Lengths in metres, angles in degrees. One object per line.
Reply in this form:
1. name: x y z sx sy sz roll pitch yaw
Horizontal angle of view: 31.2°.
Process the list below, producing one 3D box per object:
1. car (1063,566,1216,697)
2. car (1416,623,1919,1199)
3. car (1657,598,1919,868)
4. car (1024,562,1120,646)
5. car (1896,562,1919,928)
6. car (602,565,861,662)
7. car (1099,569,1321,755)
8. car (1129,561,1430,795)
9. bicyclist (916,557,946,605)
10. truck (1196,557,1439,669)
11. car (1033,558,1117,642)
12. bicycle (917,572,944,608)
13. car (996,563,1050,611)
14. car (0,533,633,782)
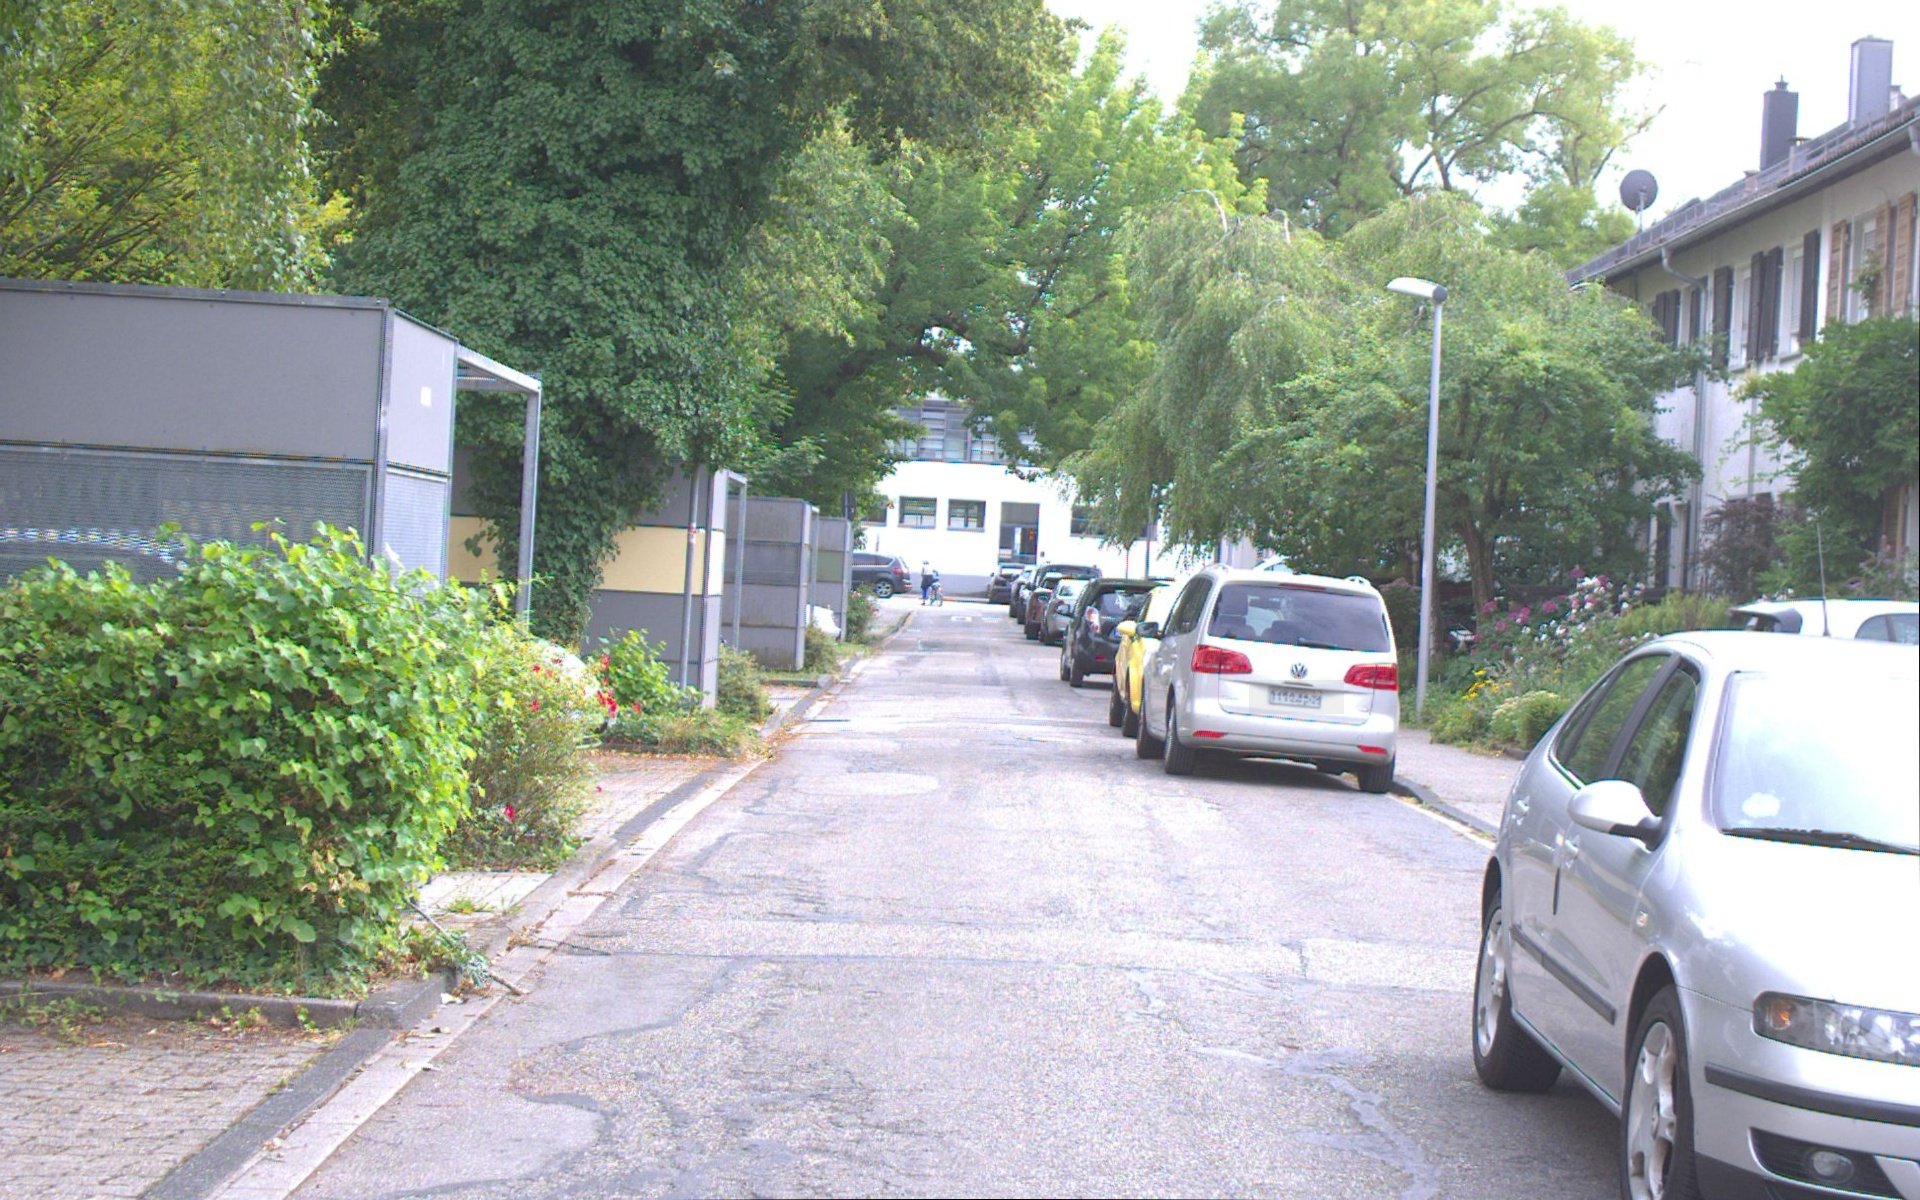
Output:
1. car: 2.437 0.391 47.604 1.825 1.576 4.193 5 1 1
2. car: 2.412 0.856 8.916 1.825 1.365 4.331 5 1 1
3. car: 5.927 0.800 21.242 2.816 1.564 1.741 1 1 -2
4. car: 2.338 0.069 72.813 1.825 1.576 4.000 5 1 1
5. car: 5.667 0.711 14.852 1.825 1.771 4.341 1 0 -3
6. car: -3.666 0.202 55.582 4.031 1.389 1.738 2 0 0
7. car: 2.409 0.560 34.011 1.825 1.576 4.000 5 1 1
8. car: 2.466 0.555 27.472 1.825 1.576 4.000 5 1 -1
9. bicyclist: -0.944 -0.633 112.896 0.798 1.506 0.934 5 0 2
10. truck: 6.818 0.242 65.847 4.390 2.007 2.000 1 0 0
11. car: 2.809 -0.022 84.450 1.825 1.877 4.000 5 1 1
12. bicycle: -0.959 -0.323 112.850 0.689 1.127 2.579 5 0 2
13. car: 2.288 -0.473 125.301 1.825 1.576 4.000 5 1 1
14. car: -4.589 0.368 23.794 4.412 1.497 1.841 2 0 0
